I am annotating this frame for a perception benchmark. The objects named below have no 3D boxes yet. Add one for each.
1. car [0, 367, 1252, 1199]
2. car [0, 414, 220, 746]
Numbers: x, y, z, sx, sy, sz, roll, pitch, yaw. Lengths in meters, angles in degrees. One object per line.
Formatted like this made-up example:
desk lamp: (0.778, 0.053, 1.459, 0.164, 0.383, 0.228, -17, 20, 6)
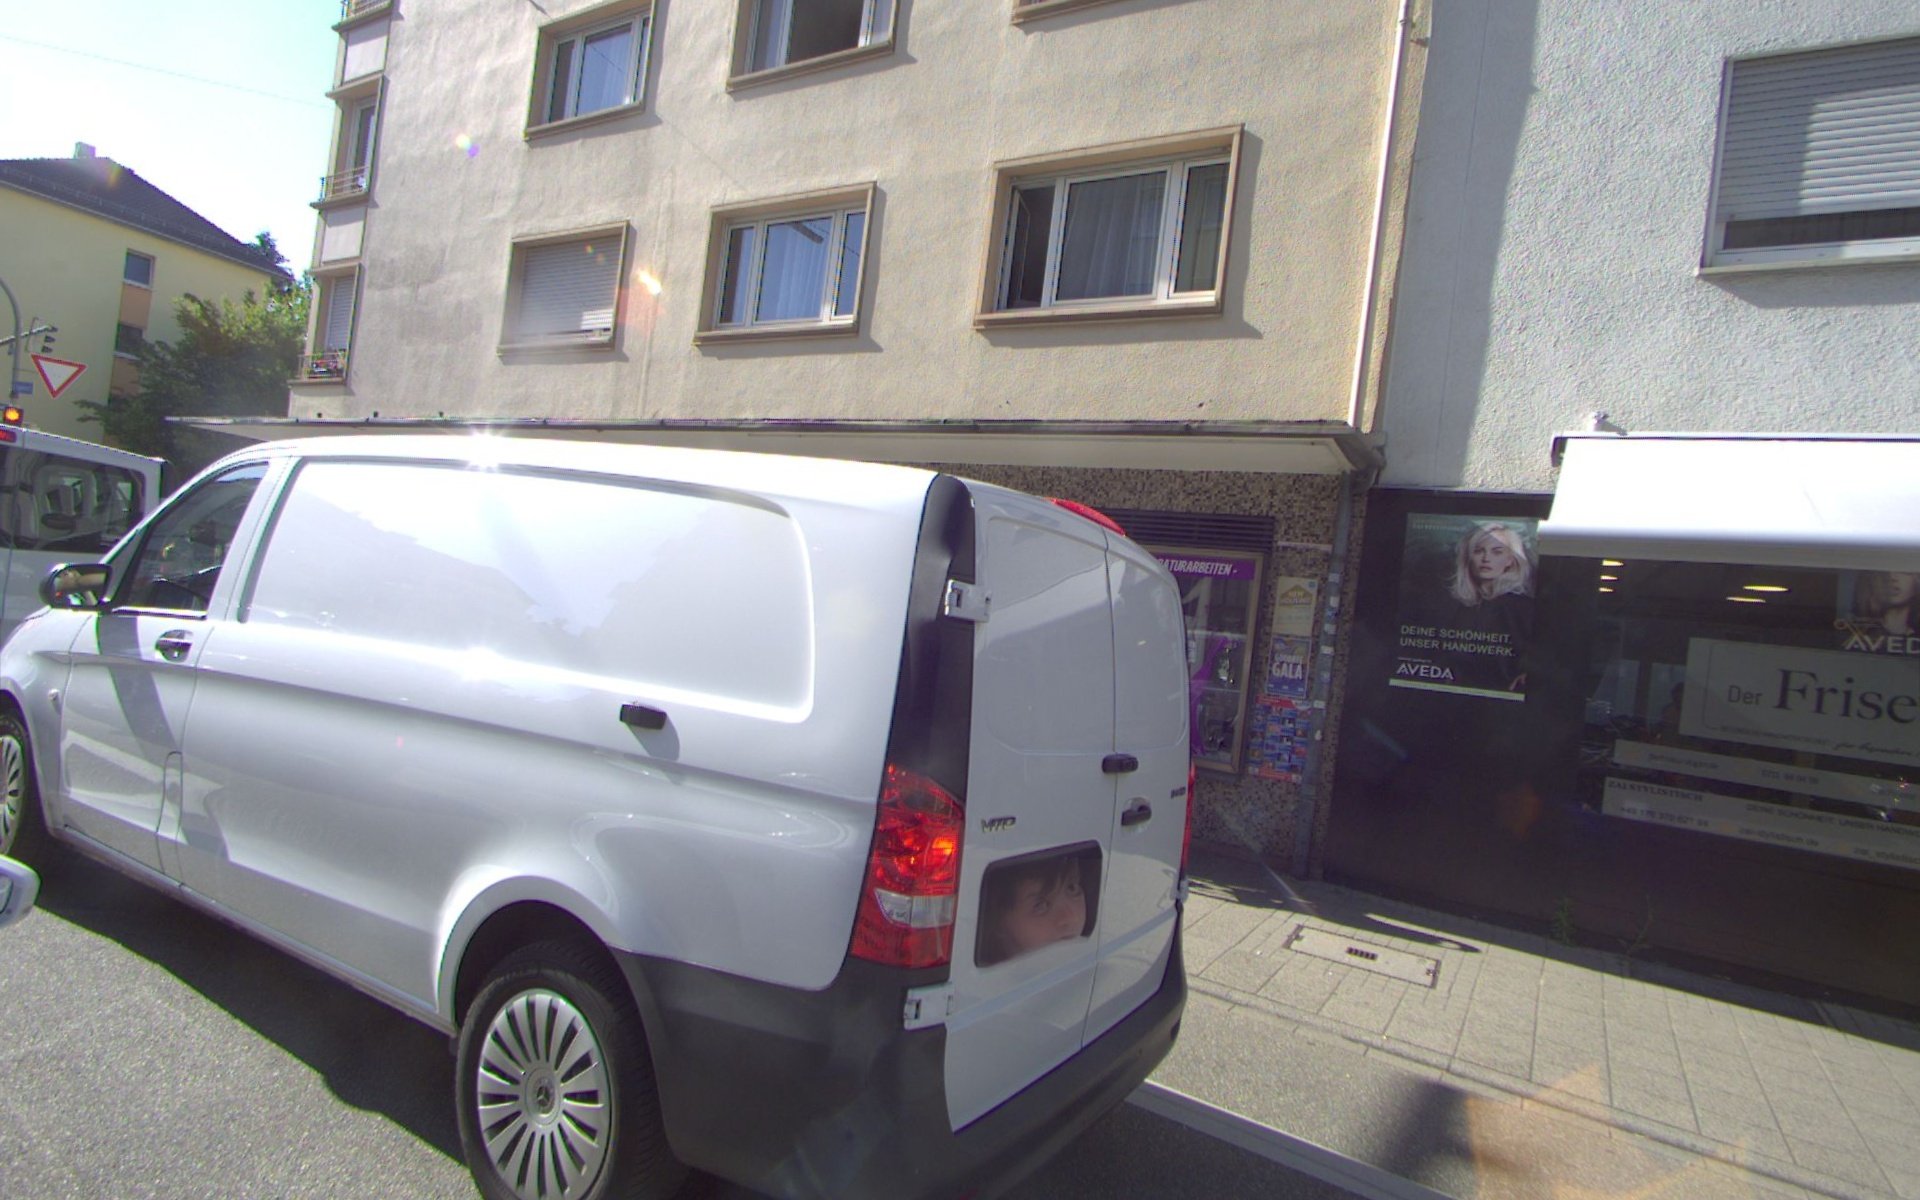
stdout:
car: (-1.722, 0.389, 3.726, 4.913, 1.891, 1.839, 7, -1, 31)
car: (-7.796, -0.341, 7.430, 4.815, 2.001, 1.997, 7, -2, 33)
